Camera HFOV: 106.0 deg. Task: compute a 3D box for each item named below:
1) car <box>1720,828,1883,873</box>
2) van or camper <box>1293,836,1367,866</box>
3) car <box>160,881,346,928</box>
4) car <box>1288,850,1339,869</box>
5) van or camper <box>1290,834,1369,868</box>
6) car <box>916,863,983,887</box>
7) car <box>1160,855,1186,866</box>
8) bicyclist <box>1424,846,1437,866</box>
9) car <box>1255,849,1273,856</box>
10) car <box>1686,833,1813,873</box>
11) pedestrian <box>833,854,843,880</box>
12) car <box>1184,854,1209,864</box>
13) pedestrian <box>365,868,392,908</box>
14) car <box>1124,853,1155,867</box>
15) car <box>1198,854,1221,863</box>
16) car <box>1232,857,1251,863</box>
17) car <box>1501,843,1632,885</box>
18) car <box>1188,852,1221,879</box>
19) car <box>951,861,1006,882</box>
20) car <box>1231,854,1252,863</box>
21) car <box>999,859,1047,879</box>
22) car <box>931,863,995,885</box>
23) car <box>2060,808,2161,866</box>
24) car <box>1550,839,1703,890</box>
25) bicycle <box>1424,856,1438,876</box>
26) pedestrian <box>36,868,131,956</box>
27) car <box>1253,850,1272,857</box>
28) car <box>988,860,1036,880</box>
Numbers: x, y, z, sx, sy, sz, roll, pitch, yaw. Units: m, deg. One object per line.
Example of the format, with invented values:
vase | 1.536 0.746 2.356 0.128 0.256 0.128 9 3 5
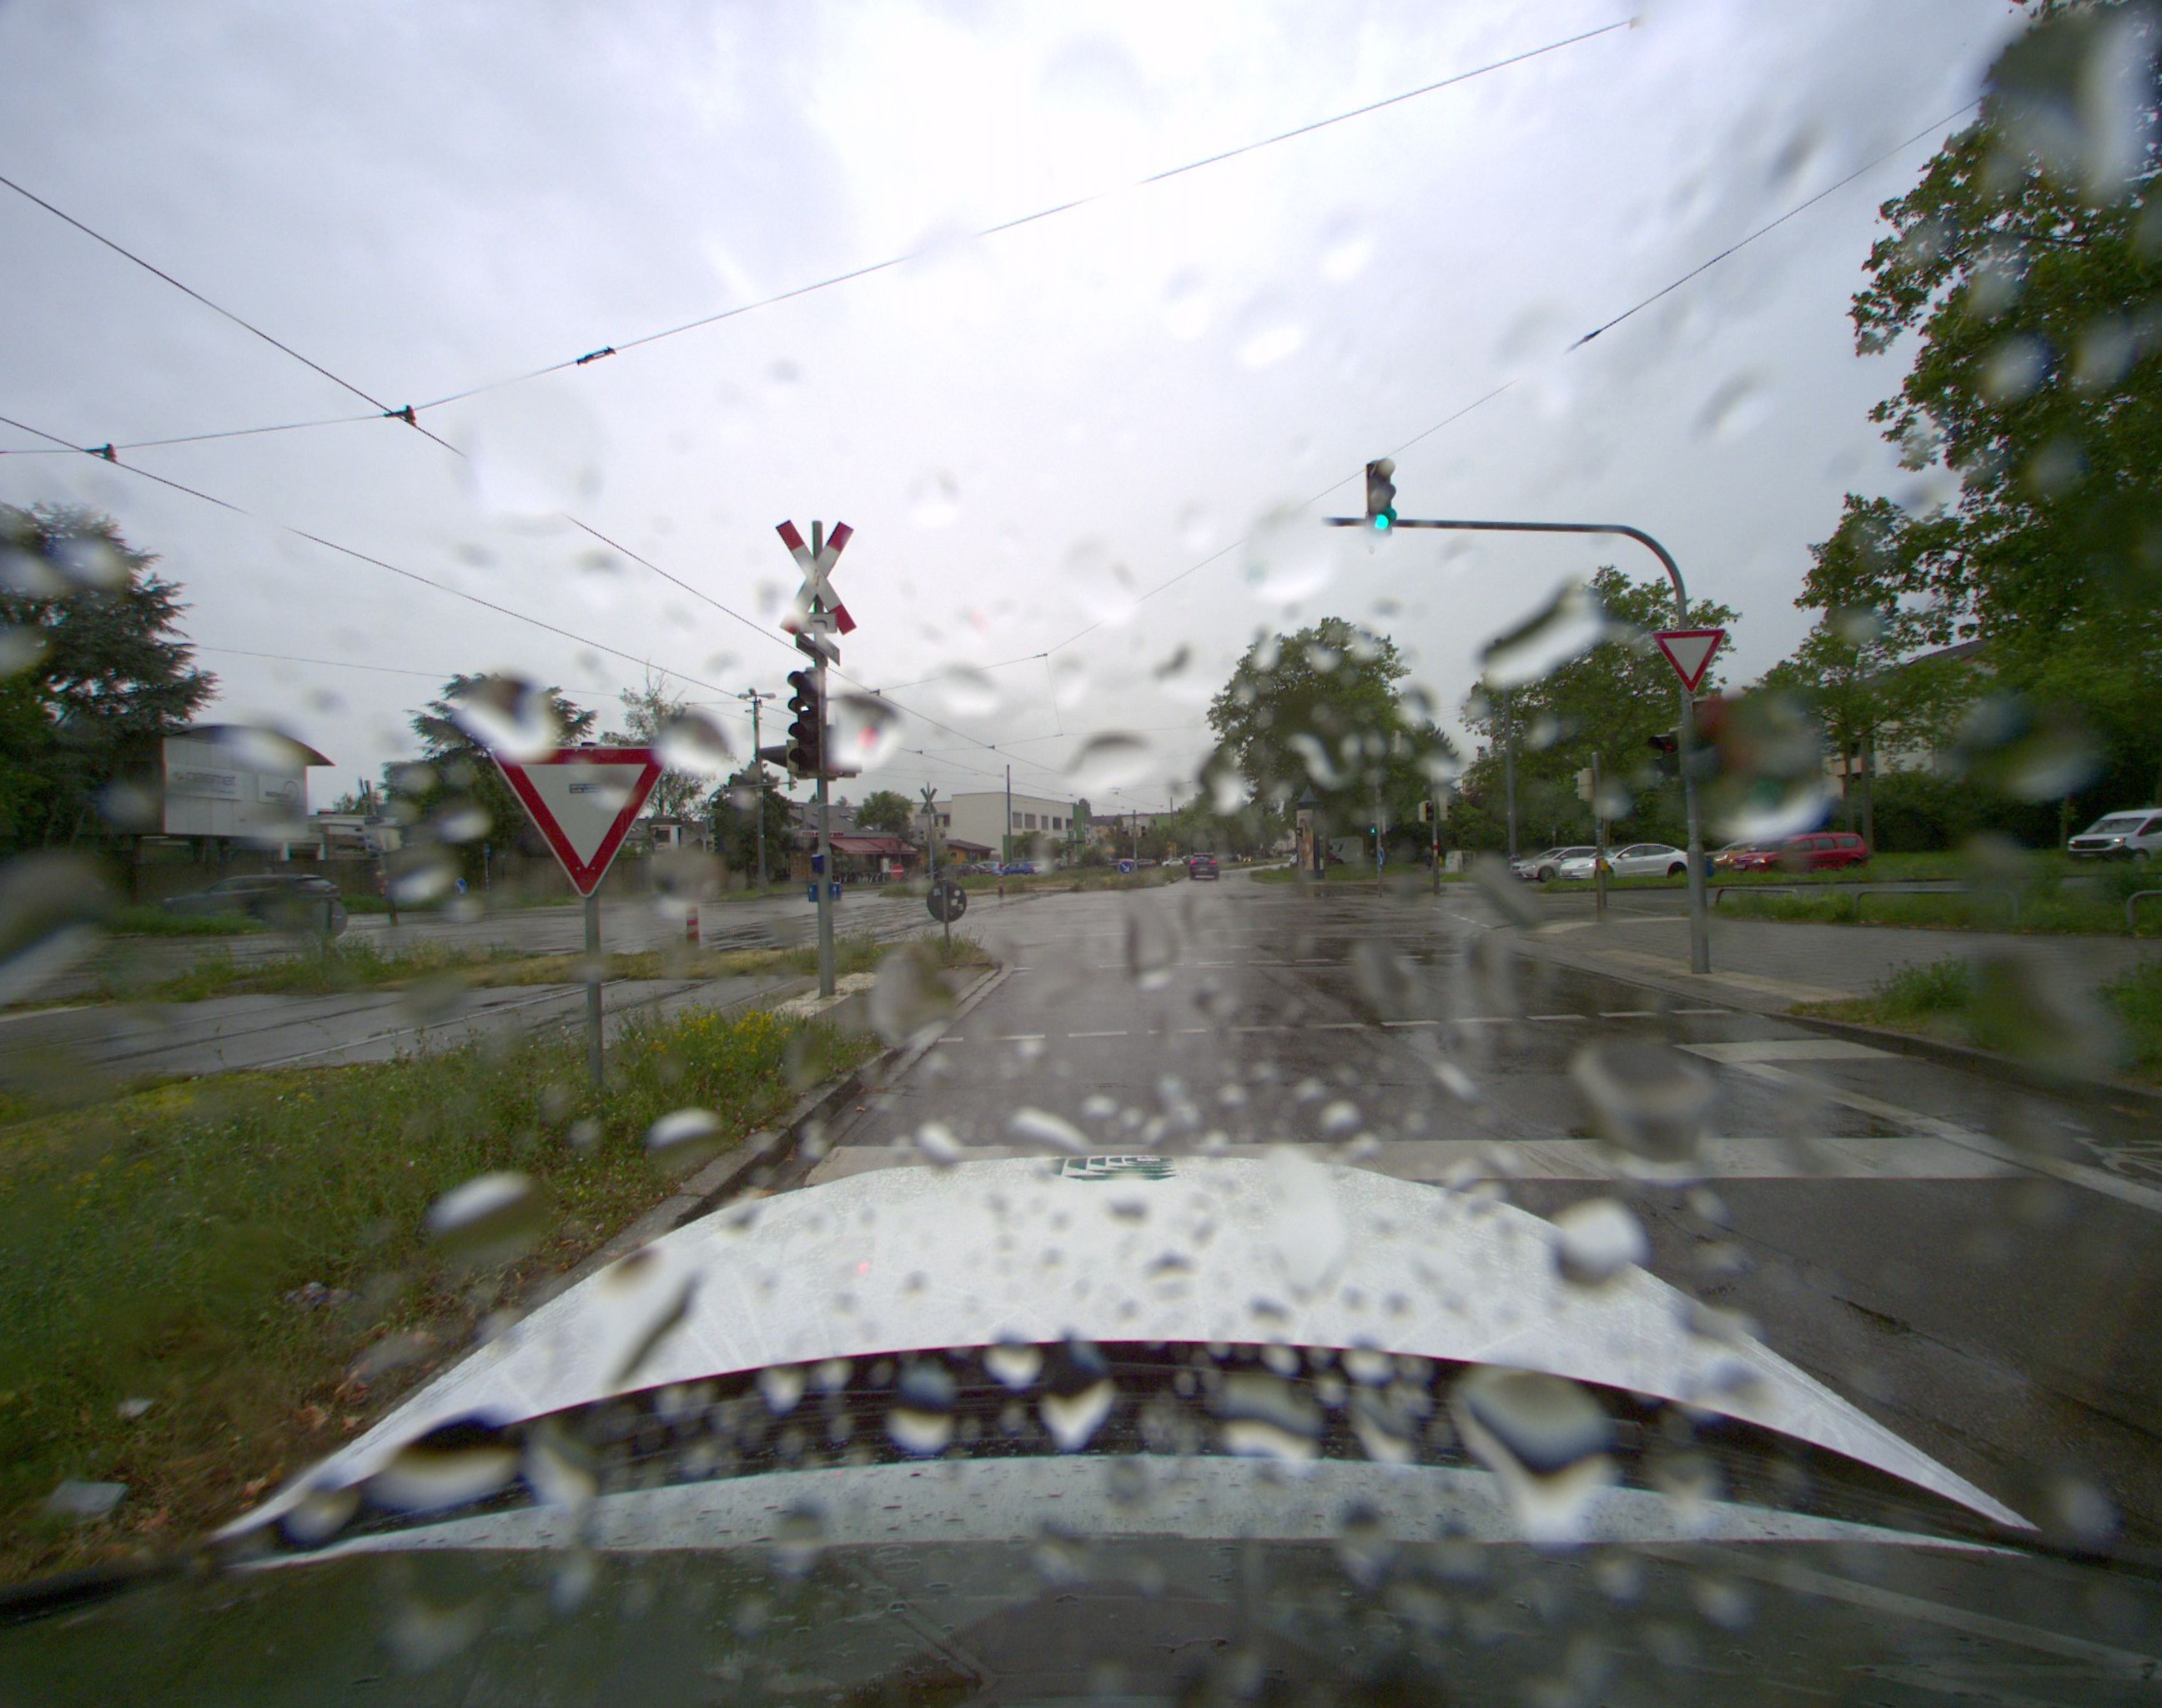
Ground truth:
car | 27.052 -0.111 30.665 4.589 1.607 1.790 0 -1 -1
van or camper | 27.239 -0.325 89.236 7.359 3.178 3.281 -1 -1 24
car | -27.411 1.648 27.084 4.118 1.399 1.688 0 -1 -9
car | 22.047 0.509 77.219 4.405 1.717 2.011 -1 -1 23
van or camper | 24.461 -0.227 80.088 7.261 3.178 3.278 -1 -1 20
car | -9.558 1.516 59.379 4.459 1.418 1.860 -3 -1 3
car | 14.251 1.015 126.441 3.772 1.702 1.832 0 -1 -8
bicyclist | 25.254 0.149 58.821 0.854 1.425 0.961 -1 -1 21
car | 45.515 -0.335 202.613 3.977 1.832 1.998 0 -1 -3
car | 28.186 -0.037 34.413 4.048 1.607 1.788 0 -1 -5
pedestrian | -18.407 0.984 61.684 0.726 2.014 0.789 0 -1 -21
car | 20.427 0.859 144.622 3.986 1.759 2.004 0 -1 -10
pedestrian | -32.998 1.585 38.264 0.890 1.797 0.719 0 0 -33
car | 7.889 0.850 110.170 3.980 1.887 1.997 0 -1 -5
car | 24.987 0.901 158.554 3.977 1.832 1.998 0 -1 -3
car | 35.924 1.268 182.428 3.868 1.354 1.764 0 -1 4
car | 20.220 0.418 34.004 4.385 1.691 1.931 0 -1 -5
car | 7.912 0.716 52.541 1.798 1.686 3.915 0 -1 4
car | -8.174 1.412 65.147 3.966 1.582 1.862 -2 -1 6
car | 34.117 0.953 173.273 3.977 1.832 1.998 0 -1 -3
car | -5.222 1.361 73.211 4.112 1.641 1.922 -1 -1 -12
car | -8.915 1.514 61.773 4.478 1.418 1.860 -3 -1 3
car | 45.746 -0.698 34.672 5.582 2.392 2.001 0 -1 2
car | 20.471 0.368 30.683 4.585 1.828 1.931 0 -1 -5
bicycle | 25.194 0.833 58.644 0.854 1.425 2.717 -1 -1 21
pedestrian | -23.240 1.321 19.003 0.948 1.991 1.007 0 -1 -3
car | 44.068 -0.129 197.908 3.977 1.832 1.998 0 -1 -3
car | -5.935 1.363 70.101 3.986 1.582 1.924 -2 -1 -9
